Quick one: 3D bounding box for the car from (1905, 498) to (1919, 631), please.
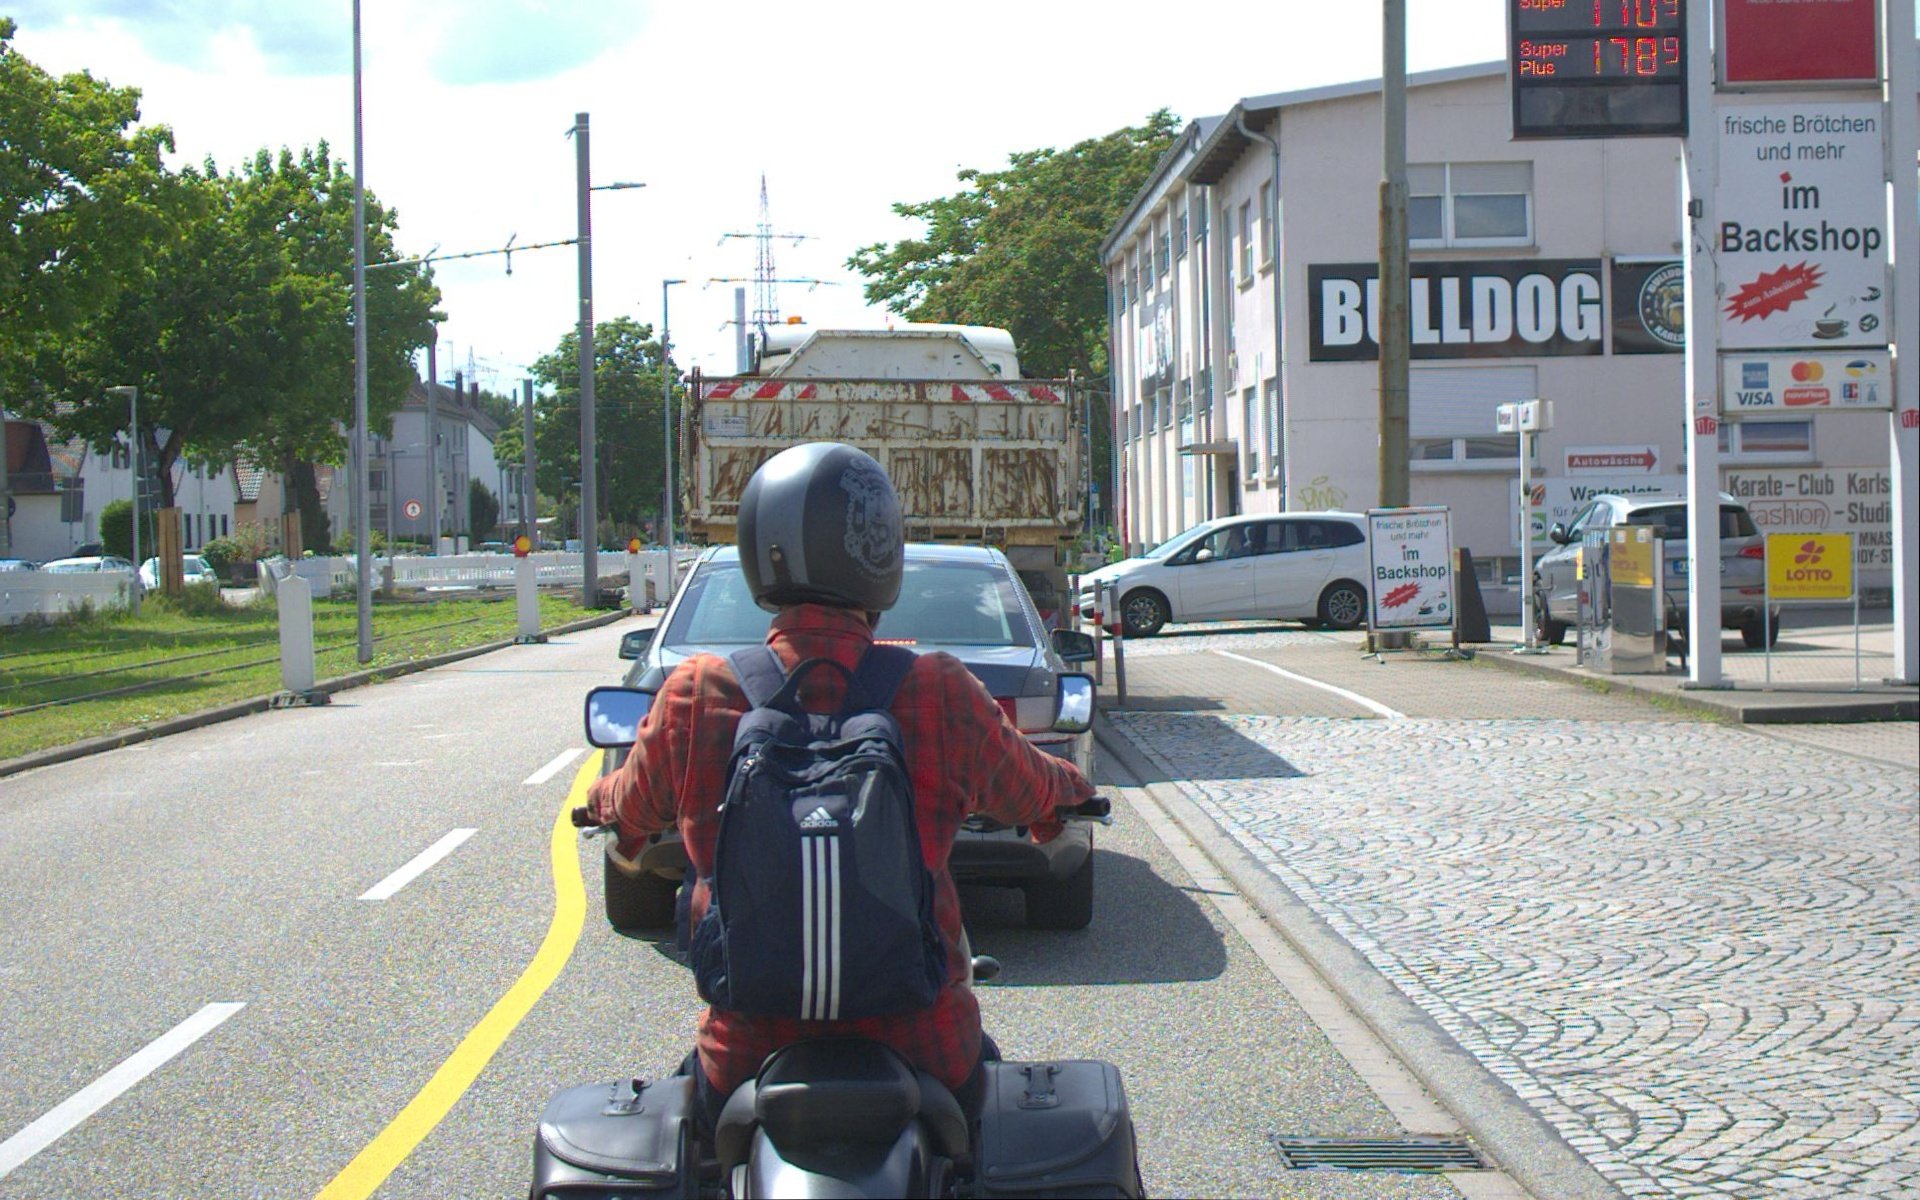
[{"bbox_3d":[11.729,-0.384,37.084,1.806,1.498,3.834,-1,1,-3],"label":"car"}]

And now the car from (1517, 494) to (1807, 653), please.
[{"bbox_3d":[7.374,-0.308,36.515,1.667,1.557,4.245,-1,1,-8],"label":"car"}]

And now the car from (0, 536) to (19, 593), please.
[{"bbox_3d":[-30.052,-1.067,104.398,1.776,1.717,4.128,-1,1,0],"label":"car"}]

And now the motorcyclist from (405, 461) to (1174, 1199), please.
[{"bbox_3d":[-0.220,0.616,5.021,0.979,1.597,1.088,-1,1,-1],"label":"motorcyclist"}]

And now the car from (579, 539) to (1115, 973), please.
[{"bbox_3d":[-0.411,0.503,13.830,1.823,1.447,4.000,1,1,-1],"label":"car"}]

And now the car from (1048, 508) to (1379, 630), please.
[{"bbox_3d":[3.442,-0.438,47.041,4.229,1.537,1.673,-1,1,-8],"label":"car"}]

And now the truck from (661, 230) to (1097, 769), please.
[{"bbox_3d":[-0.547,-0.715,25.357,2.638,3.285,8.057,-1,1,-1],"label":"truck"}]

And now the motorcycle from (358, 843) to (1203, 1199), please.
[{"bbox_3d":[-0.216,0.958,5.333,0.979,0.894,2.653,-1,1,-1],"label":"motorcycle"}]

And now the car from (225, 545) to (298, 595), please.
[{"bbox_3d":[-25.427,-1.108,125.234,1.776,1.717,4.128,-1,1,0],"label":"car"}]

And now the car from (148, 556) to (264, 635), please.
[{"bbox_3d":[-17.503,-0.135,79.953,1.776,1.717,4.128,-1,1,0],"label":"car"}]
